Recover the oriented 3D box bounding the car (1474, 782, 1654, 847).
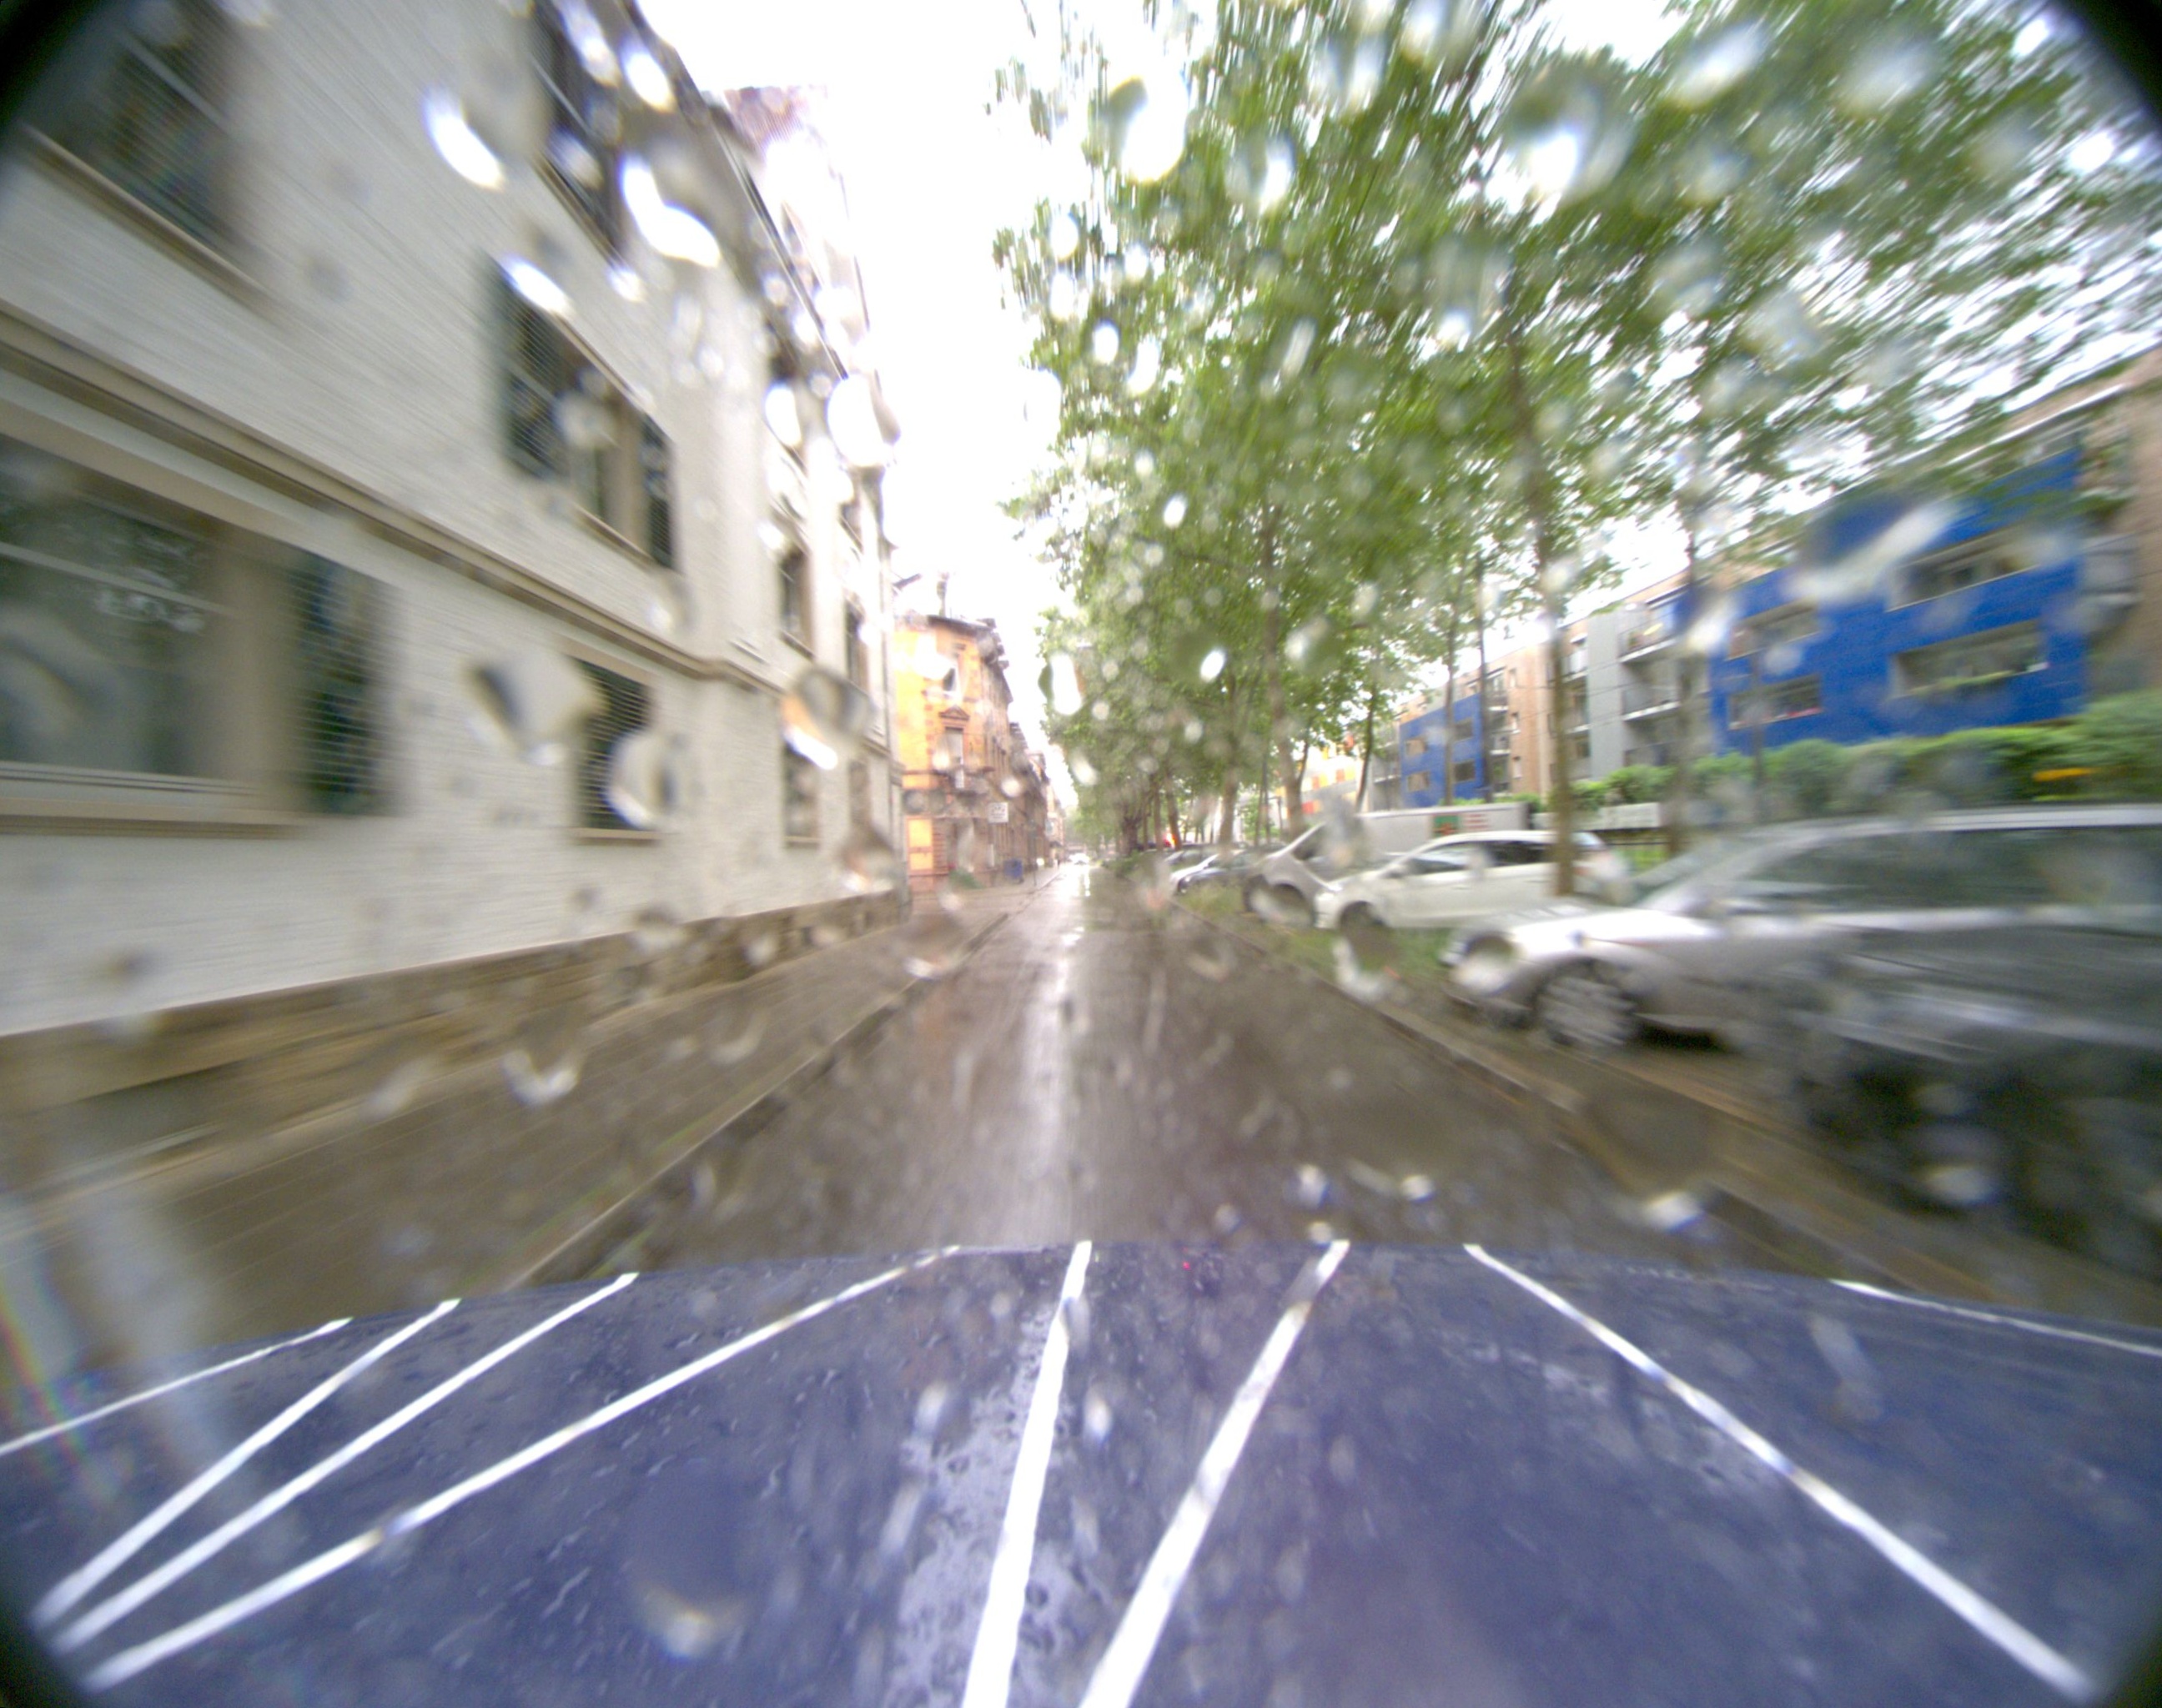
[{"bbox_3d":[12.328,-0.946,19.742,1.999,1.412,3.991,-2,0,-3],"label":"car"}]

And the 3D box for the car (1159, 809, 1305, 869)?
[{"bbox_3d":[4.668,-0.440,23.554,4.060,1.490,1.750,-4,0,24],"label":"car"}]

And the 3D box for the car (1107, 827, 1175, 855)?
[{"bbox_3d":[4.023,-0.885,51.075,4.056,1.528,1.838,-4,0,26],"label":"car"}]

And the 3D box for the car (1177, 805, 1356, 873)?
[{"bbox_3d":[4.956,-0.376,20.399,4.306,1.428,1.750,-4,0,27],"label":"car"}]

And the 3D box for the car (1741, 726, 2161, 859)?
[{"bbox_3d":[12.005,-0.712,10.450,1.999,1.412,4.271,-3,0,-2],"label":"car"}]

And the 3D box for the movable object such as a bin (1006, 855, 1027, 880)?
[{"bbox_3d":[-3.535,0.736,41.519,1.024,1.294,1.366,-1,0,0],"label":"movable object such as a bin"}]

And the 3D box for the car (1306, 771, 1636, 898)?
[{"bbox_3d":[5.295,-0.206,10.580,3.776,1.473,1.725,-2,1,31],"label":"car"}]

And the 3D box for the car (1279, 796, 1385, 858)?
[{"bbox_3d":[9.367,-0.972,28.864,1.999,2.002,5.027,-5,1,-3],"label":"car"}]

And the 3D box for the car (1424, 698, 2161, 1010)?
[{"bbox_3d":[4.771,-0.002,4.792,4.549,1.473,1.778,-2,1,30],"label":"car"}]

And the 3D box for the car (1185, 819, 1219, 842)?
[{"bbox_3d":[12.289,-2.386,77.608,2.059,1.986,5.432,-6,1,-3],"label":"car"}]

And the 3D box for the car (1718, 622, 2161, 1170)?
[{"bbox_3d":[4.474,0.050,2.186,3.807,1.512,1.725,-2,1,31],"label":"car"}]

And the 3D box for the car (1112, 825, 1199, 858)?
[{"bbox_3d":[4.026,-0.677,41.242,4.221,1.471,1.746,-4,0,28],"label":"car"}]

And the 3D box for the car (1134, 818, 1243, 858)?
[{"bbox_3d":[4.816,-0.718,34.142,4.406,1.636,1.875,-1,2,31],"label":"car"}]

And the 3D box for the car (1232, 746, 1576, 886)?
[{"bbox_3d":[5.476,-0.539,13.191,5.118,1.966,2.106,-2,1,31],"label":"car"}]

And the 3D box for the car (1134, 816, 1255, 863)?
[{"bbox_3d":[4.625,-0.574,31.078,4.407,1.650,1.933,-3,1,28],"label":"car"}]

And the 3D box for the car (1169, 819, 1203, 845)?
[{"bbox_3d":[9.306,-1.915,67.752,2.043,1.988,5.157,-4,1,-3],"label":"car"}]
